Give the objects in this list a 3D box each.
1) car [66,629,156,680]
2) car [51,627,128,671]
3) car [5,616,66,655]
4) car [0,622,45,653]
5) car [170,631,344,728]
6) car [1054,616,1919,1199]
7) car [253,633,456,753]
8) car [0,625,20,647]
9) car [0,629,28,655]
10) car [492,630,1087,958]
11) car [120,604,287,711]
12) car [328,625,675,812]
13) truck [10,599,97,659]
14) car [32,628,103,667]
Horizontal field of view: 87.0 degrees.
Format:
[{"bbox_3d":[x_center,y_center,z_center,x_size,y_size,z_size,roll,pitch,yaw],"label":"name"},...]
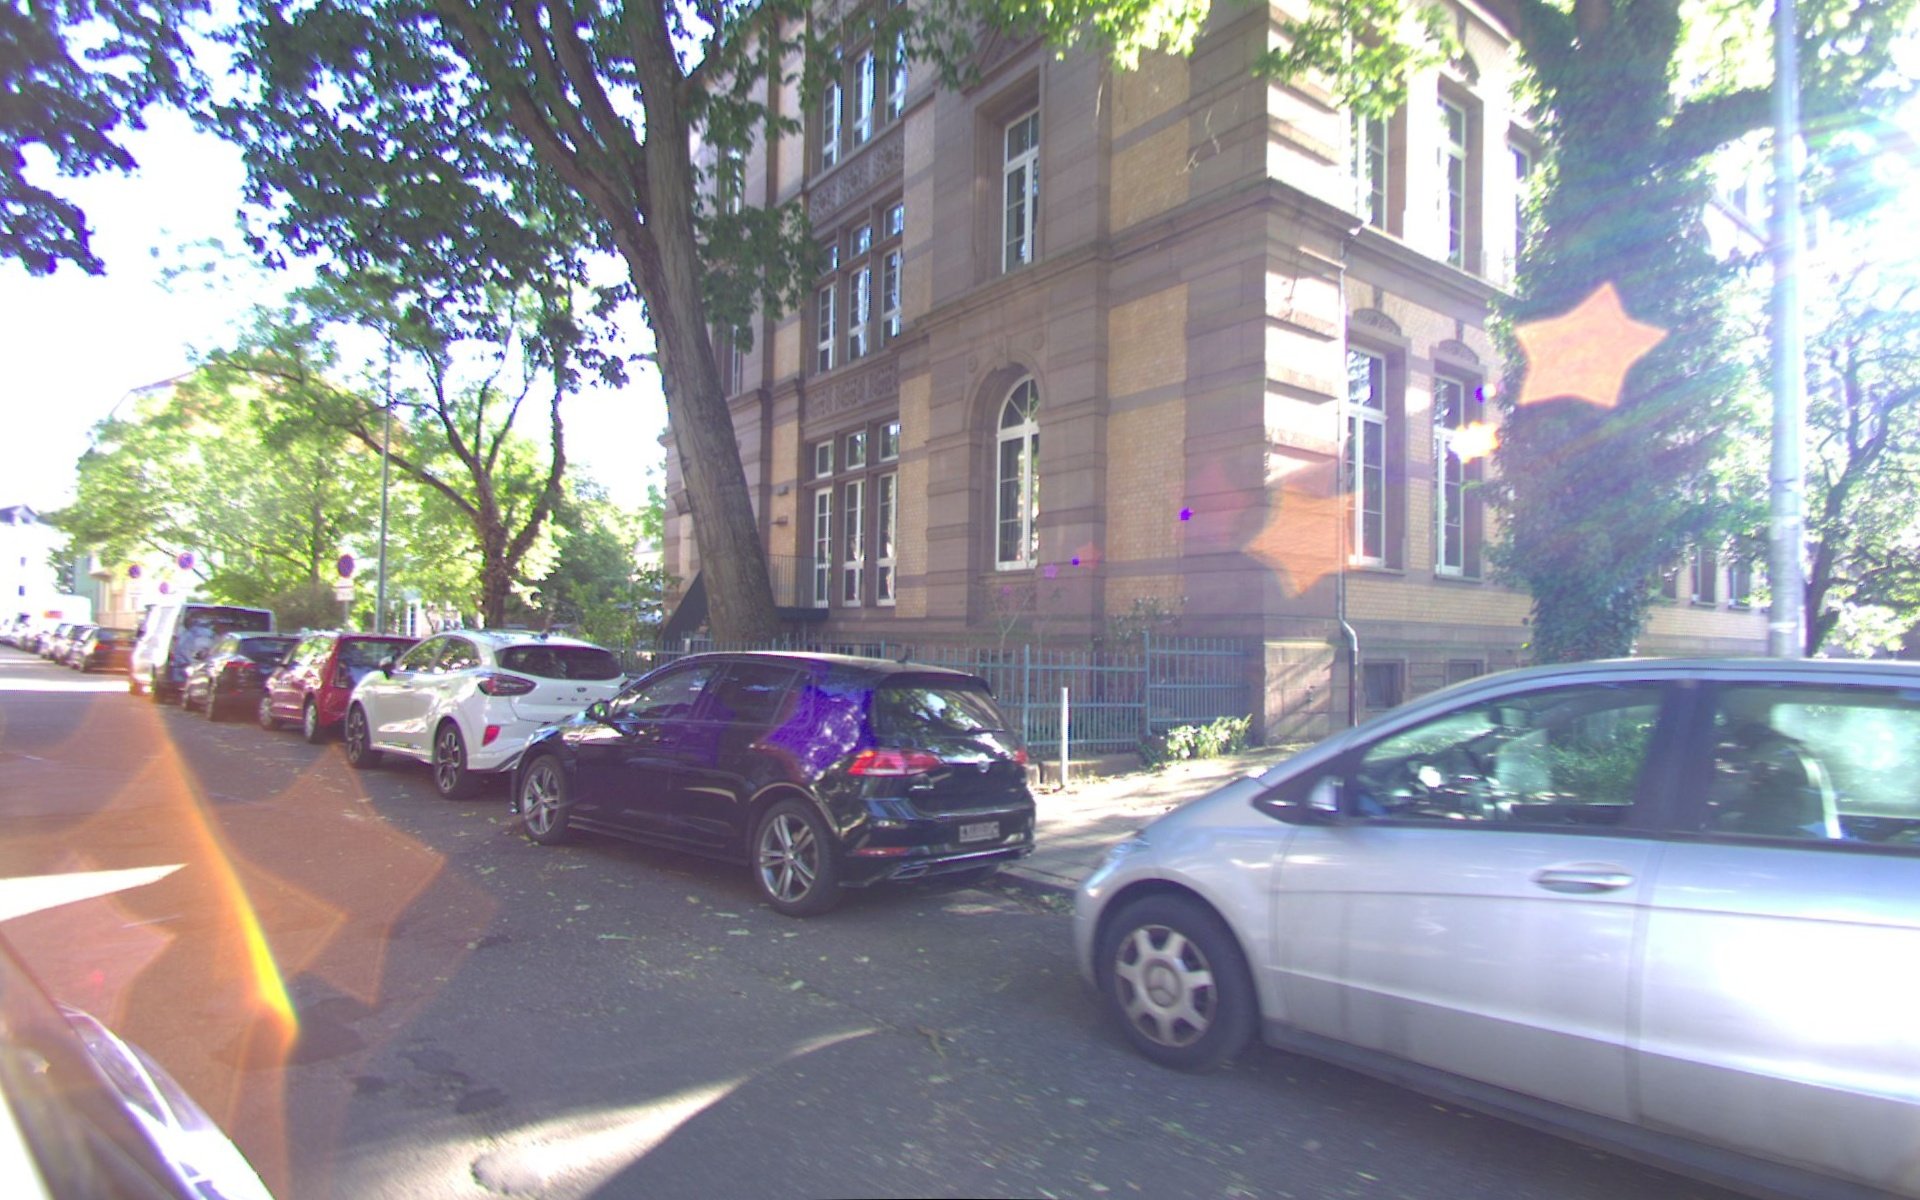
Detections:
[{"bbox_3d":[-26.427,1.682,31.472,4.002,1.475,1.715,-2,-4,45],"label":"car"},{"bbox_3d":[-30.949,1.689,35.939,4.002,1.484,1.731,-1,-2,45],"label":"car"},{"bbox_3d":[-50.217,1.945,54.943,4.810,2.029,2.117,-2,-3,44],"label":"car"},{"bbox_3d":[-58.009,2.312,62.549,4.191,1.815,1.784,-1,-3,44],"label":"car"},{"bbox_3d":[-12.190,1.310,17.472,3.846,1.475,1.707,-2,-5,44],"label":"car"},{"bbox_3d":[2.401,0.911,3.197,3.954,1.570,1.687,-1,-6,44],"label":"car"},{"bbox_3d":[-8.597,1.242,14.276,3.312,1.475,1.602,-2,-5,44],"label":"car"},{"bbox_3d":[-69.505,2.578,73.458,4.001,1.578,1.575,-1,-3,44],"label":"car"},{"bbox_3d":[-62.905,2.748,66.788,4.001,1.660,1.784,-1,-3,44],"label":"car"},{"bbox_3d":[-1.308,1.057,6.777,3.995,1.475,1.566,1,-6,38],"label":"car"},{"bbox_3d":[-16.057,1.194,21.373,5.044,1.972,1.971,-2,-6,45],"label":"car"},{"bbox_3d":[-4.832,1.103,10.416,4.000,1.545,1.768,-2,-7,43],"label":"car"},{"bbox_3d":[-43.535,1.415,48.537,7.093,2.677,2.363,-1,-3,43],"label":"truck"},{"bbox_3d":[-35.381,1.870,40.082,4.210,1.470,1.763,-2,-4,45],"label":"car"}]
